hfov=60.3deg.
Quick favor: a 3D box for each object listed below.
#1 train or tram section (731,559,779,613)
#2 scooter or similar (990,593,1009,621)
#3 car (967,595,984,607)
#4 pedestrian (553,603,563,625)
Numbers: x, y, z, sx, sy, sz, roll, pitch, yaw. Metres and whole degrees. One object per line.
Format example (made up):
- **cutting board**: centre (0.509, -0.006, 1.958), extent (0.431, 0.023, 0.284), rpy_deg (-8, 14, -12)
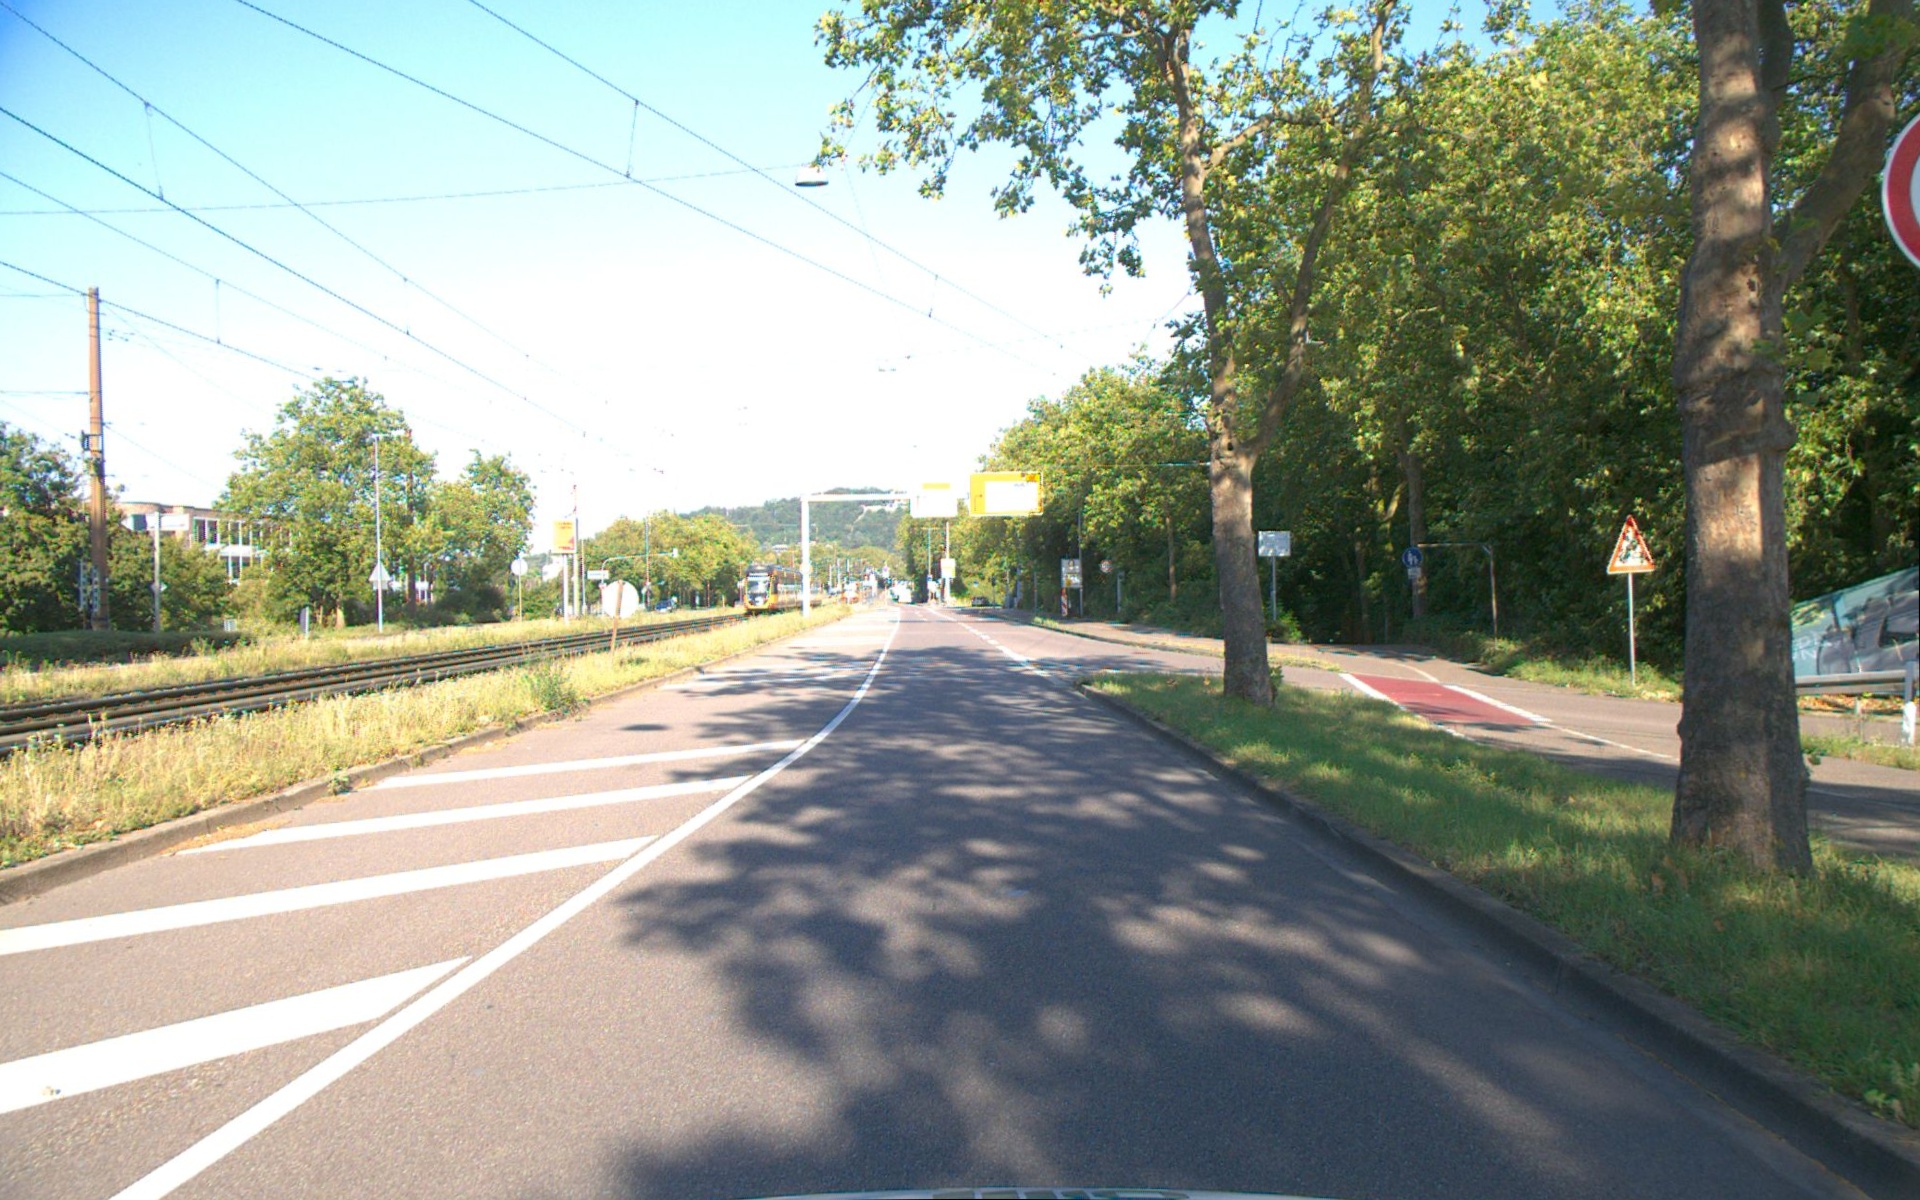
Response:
- **train or tram section**: centre (-15.843, -1.041, 128.589), extent (2.748, 3.971, 12.326), rpy_deg (0, 0, -3)
- **scooter or similar**: centre (3.846, 0.668, 162.266), extent (1.647, 2.763, 4.867), rpy_deg (0, 0, -2)
- **car**: centre (2.030, 0.120, 215.849), extent (2.042, 1.593, 3.957), rpy_deg (0, 0, 4)
- **pedestrian**: centre (-33.348, 1.157, 137.287), extent (0.529, 1.853, 0.651), rpy_deg (0, 0, 20)
